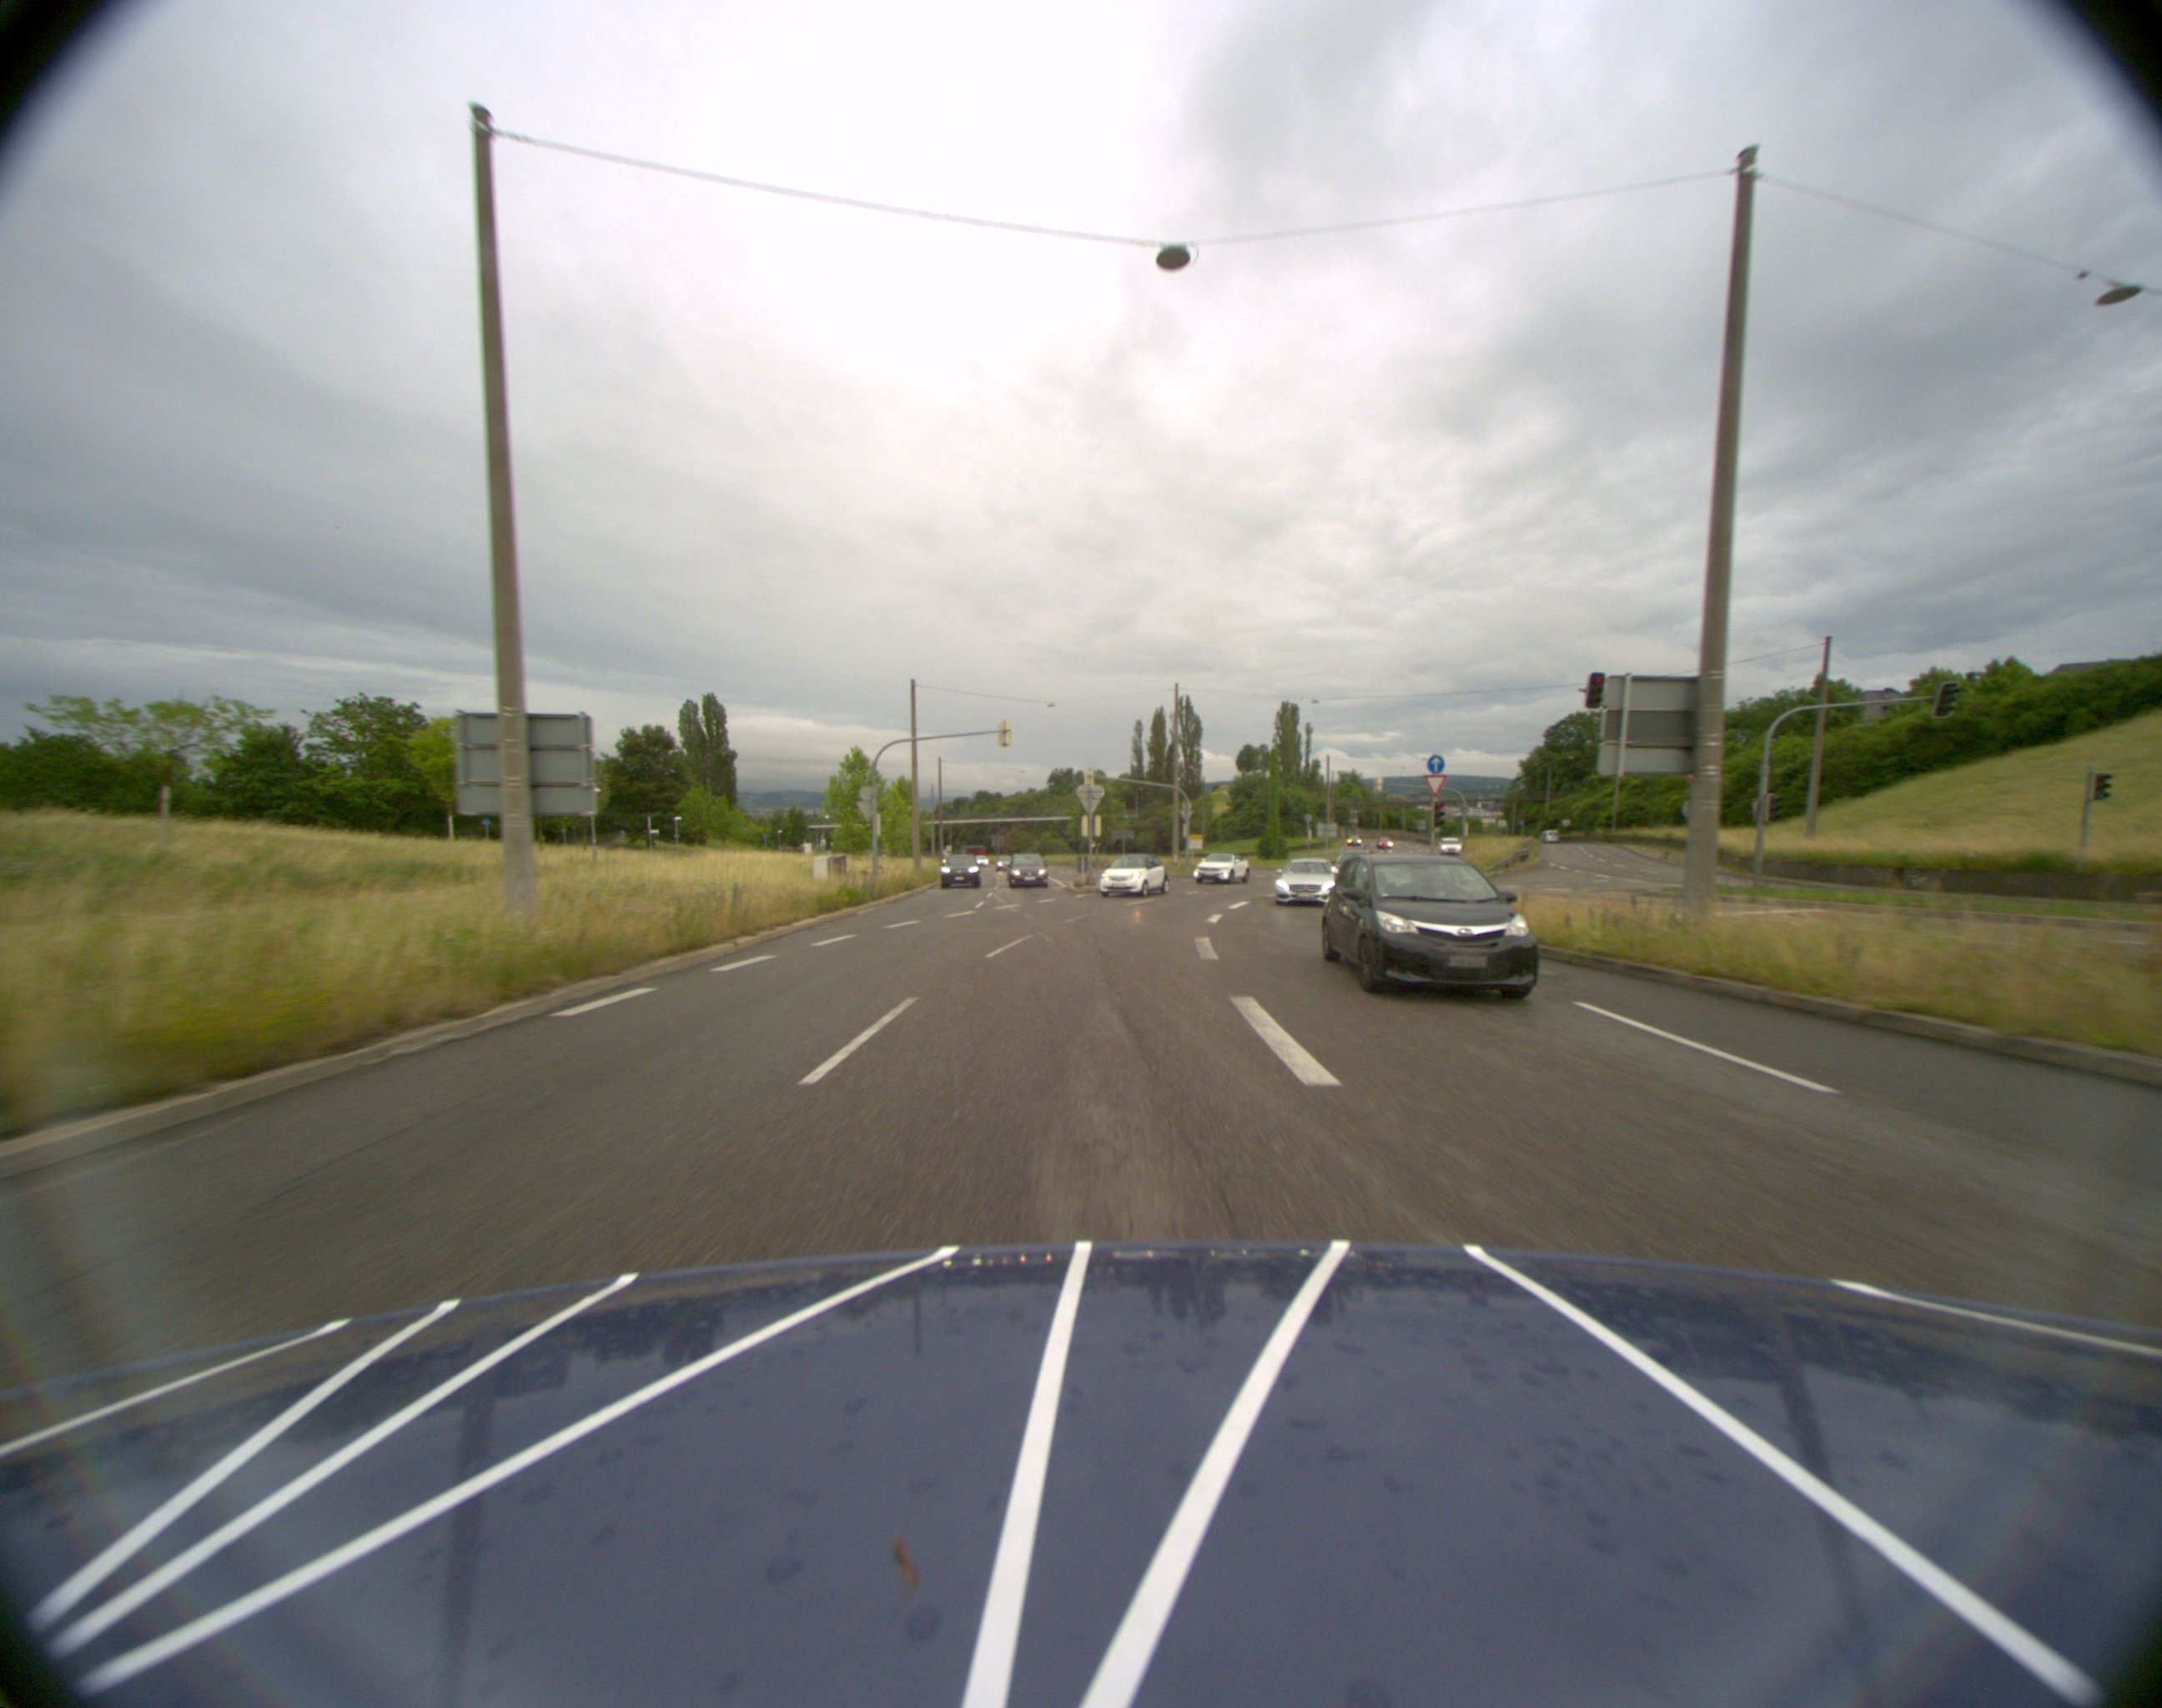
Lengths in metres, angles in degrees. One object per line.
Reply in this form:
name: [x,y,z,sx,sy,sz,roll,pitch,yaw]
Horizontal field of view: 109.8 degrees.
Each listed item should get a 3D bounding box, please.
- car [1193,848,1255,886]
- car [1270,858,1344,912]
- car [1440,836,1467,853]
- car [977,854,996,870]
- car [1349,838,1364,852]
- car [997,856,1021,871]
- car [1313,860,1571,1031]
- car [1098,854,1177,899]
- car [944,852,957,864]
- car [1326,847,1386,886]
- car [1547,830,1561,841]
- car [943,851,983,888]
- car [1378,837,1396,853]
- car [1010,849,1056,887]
car: [7.294,0.613,38.458,1.839,1.532,3.822,0,5,31]
car: [7.309,0.912,24.295,1.995,1.400,4.530,2,2,19]
car: [38.677,-1.020,78.974,1.996,1.682,4.294,-1,1,18]
car: [-12.534,1.016,100.586,1.839,1.936,3.994,-2,1,-16]
car: [40.234,-1.322,110.898,1.995,2.002,4.005,-1,1,20]
car: [-7.251,0.931,76.286,1.872,1.477,3.995,0,1,-12]
car: [4.109,0.898,9.409,1.799,1.556,4.046,1,1,9]
car: [2.226,0.795,28.857,1.723,1.513,4.234,0,1,23]
car: [-22.903,0.617,132.855,2.001,2.002,3.995,0,1,-13]
car: [13.039,0.554,35.932,1.923,1.725,4.033,0,1,31]
car: [66.638,-2.560,107.043,1.557,1.424,3.235,-2,1,29]
car: [-5.891,0.721,38.241,1.720,1.633,3.885,-2,1,-6]
car: [40.216,-1.162,100.008,1.996,2.002,4.005,-1,1,19]
car: [-2.412,0.648,37.084,1.999,1.633,4.625,-2,1,-6]
